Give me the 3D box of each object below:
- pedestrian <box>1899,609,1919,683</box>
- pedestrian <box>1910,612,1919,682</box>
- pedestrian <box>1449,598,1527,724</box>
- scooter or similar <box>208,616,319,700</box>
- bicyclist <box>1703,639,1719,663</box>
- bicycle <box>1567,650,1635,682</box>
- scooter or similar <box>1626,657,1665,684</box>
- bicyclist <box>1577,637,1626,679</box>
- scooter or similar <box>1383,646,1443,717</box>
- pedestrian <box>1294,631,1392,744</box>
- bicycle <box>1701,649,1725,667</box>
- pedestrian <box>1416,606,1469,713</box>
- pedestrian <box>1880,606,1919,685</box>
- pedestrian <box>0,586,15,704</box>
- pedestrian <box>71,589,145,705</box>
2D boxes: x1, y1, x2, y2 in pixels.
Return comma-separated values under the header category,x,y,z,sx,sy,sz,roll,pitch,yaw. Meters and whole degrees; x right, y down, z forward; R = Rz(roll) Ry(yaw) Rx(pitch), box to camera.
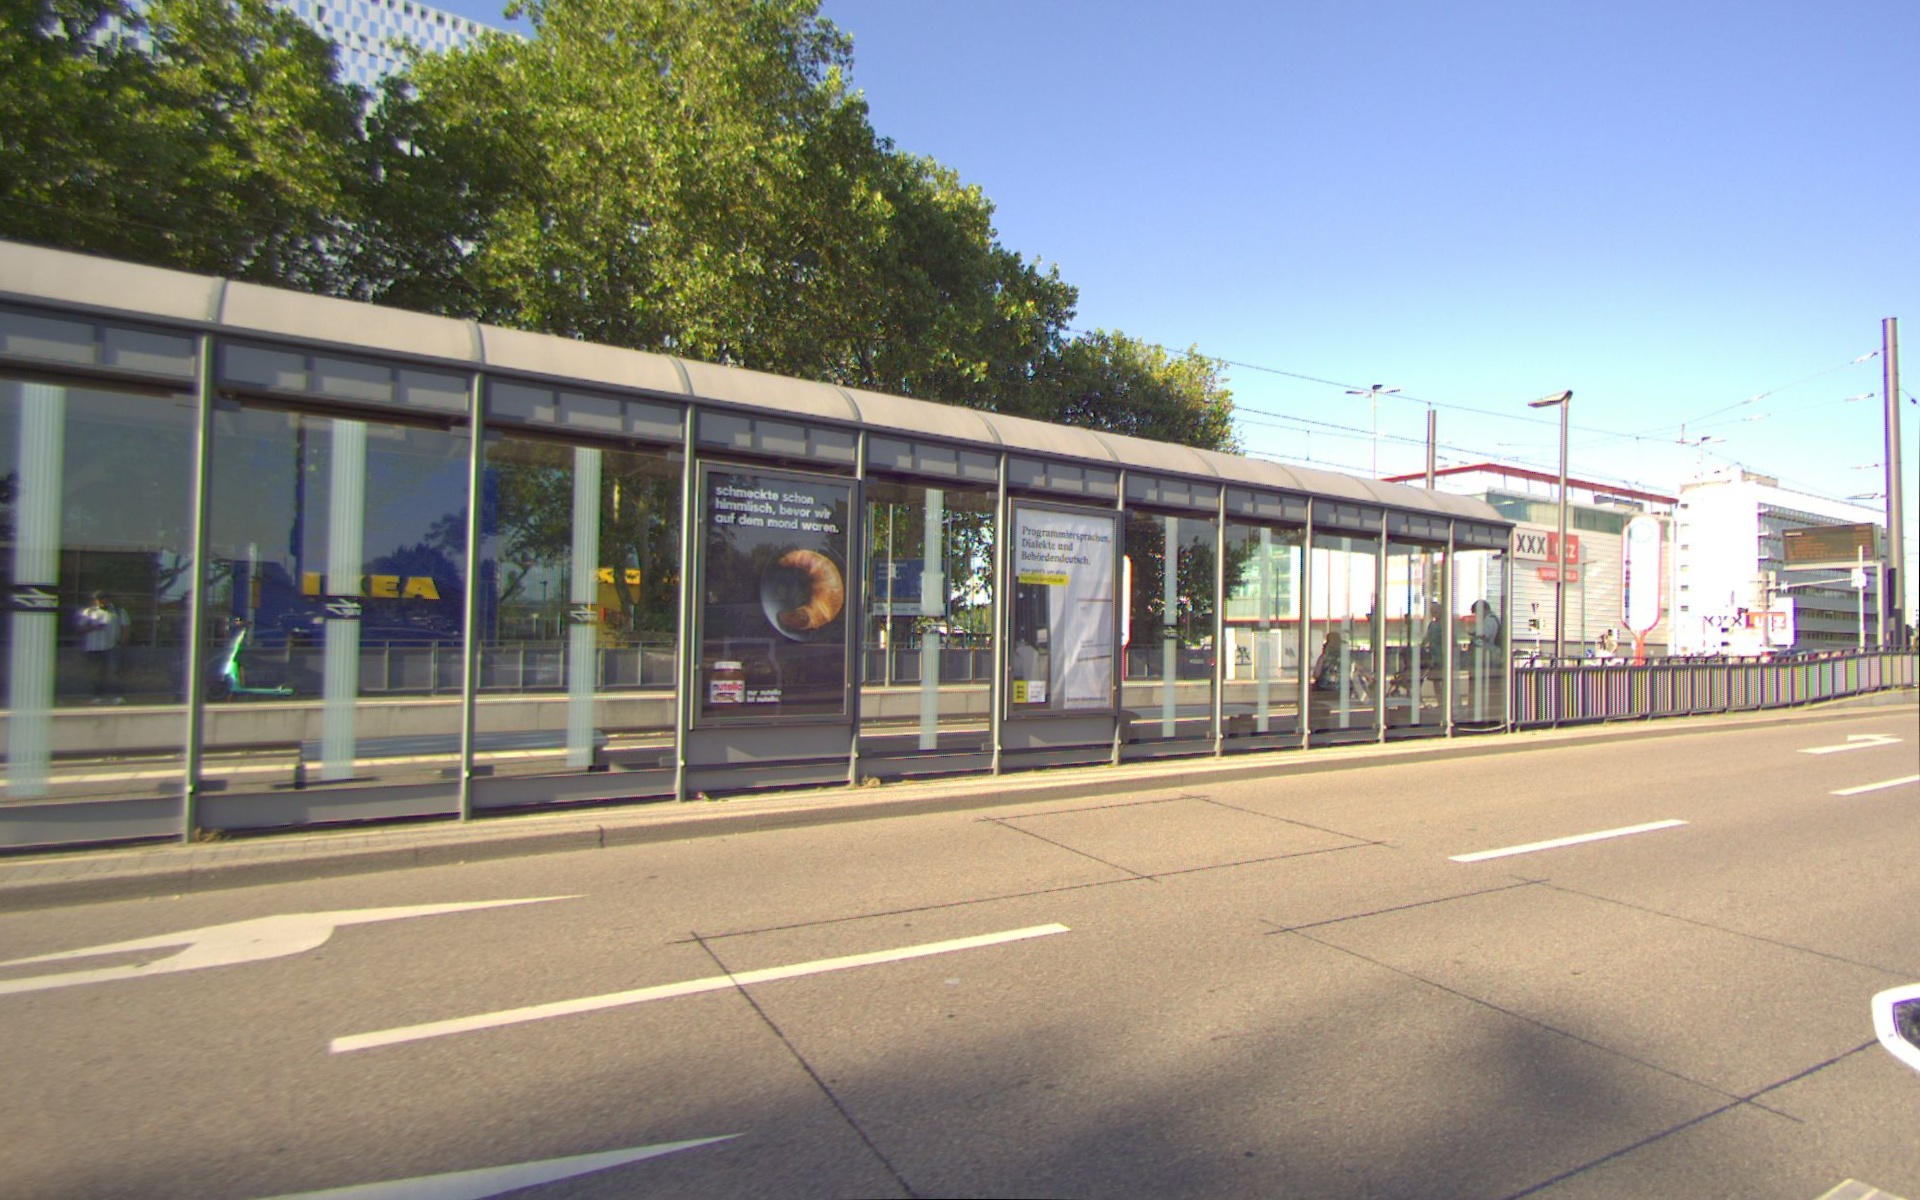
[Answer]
category,x,y,z,sx,sy,sz,roll,pitch,yaw
pedestrian,22.756,1.102,23.781,0.752,1.715,0.531,2,0,-31
pedestrian,23.516,1.151,24.323,0.742,1.679,0.531,2,0,-31
pedestrian,7.543,0.849,14.357,0.815,1.738,0.688,2,-1,-37
scooter or similar,-10.774,0.881,15.590,1.358,1.251,0.660,2,-2,-34
bicyclist,50.567,3.437,67.609,0.742,1.543,0.585,1,-1,-29
bicycle,26.035,2.697,40.837,2.233,1.234,0.715,1,-3,10
scooter or similar,27.634,2.830,40.498,1.045,1.028,0.790,1,-3,10
bicyclist,26.080,2.364,40.849,1.456,1.638,0.823,1,-3,10
scooter or similar,6.823,1.212,15.128,0.563,1.000,0.811,1,-1,45
pedestrian,4.518,1.003,11.859,0.869,1.248,0.676,1,0,-33
bicycle,50.762,3.881,67.722,1.968,1.183,0.585,2,-1,-29
pedestrian,7.511,0.916,15.637,0.551,1.617,0.637,1,-1,45
pedestrian,22.119,1.059,23.488,0.529,1.799,0.704,2,0,-28
pedestrian,-13.664,0.621,13.930,0.627,1.641,0.648,2,0,-29
pedestrian,-12.484,0.677,14.730,0.682,1.641,0.599,2,0,-29
